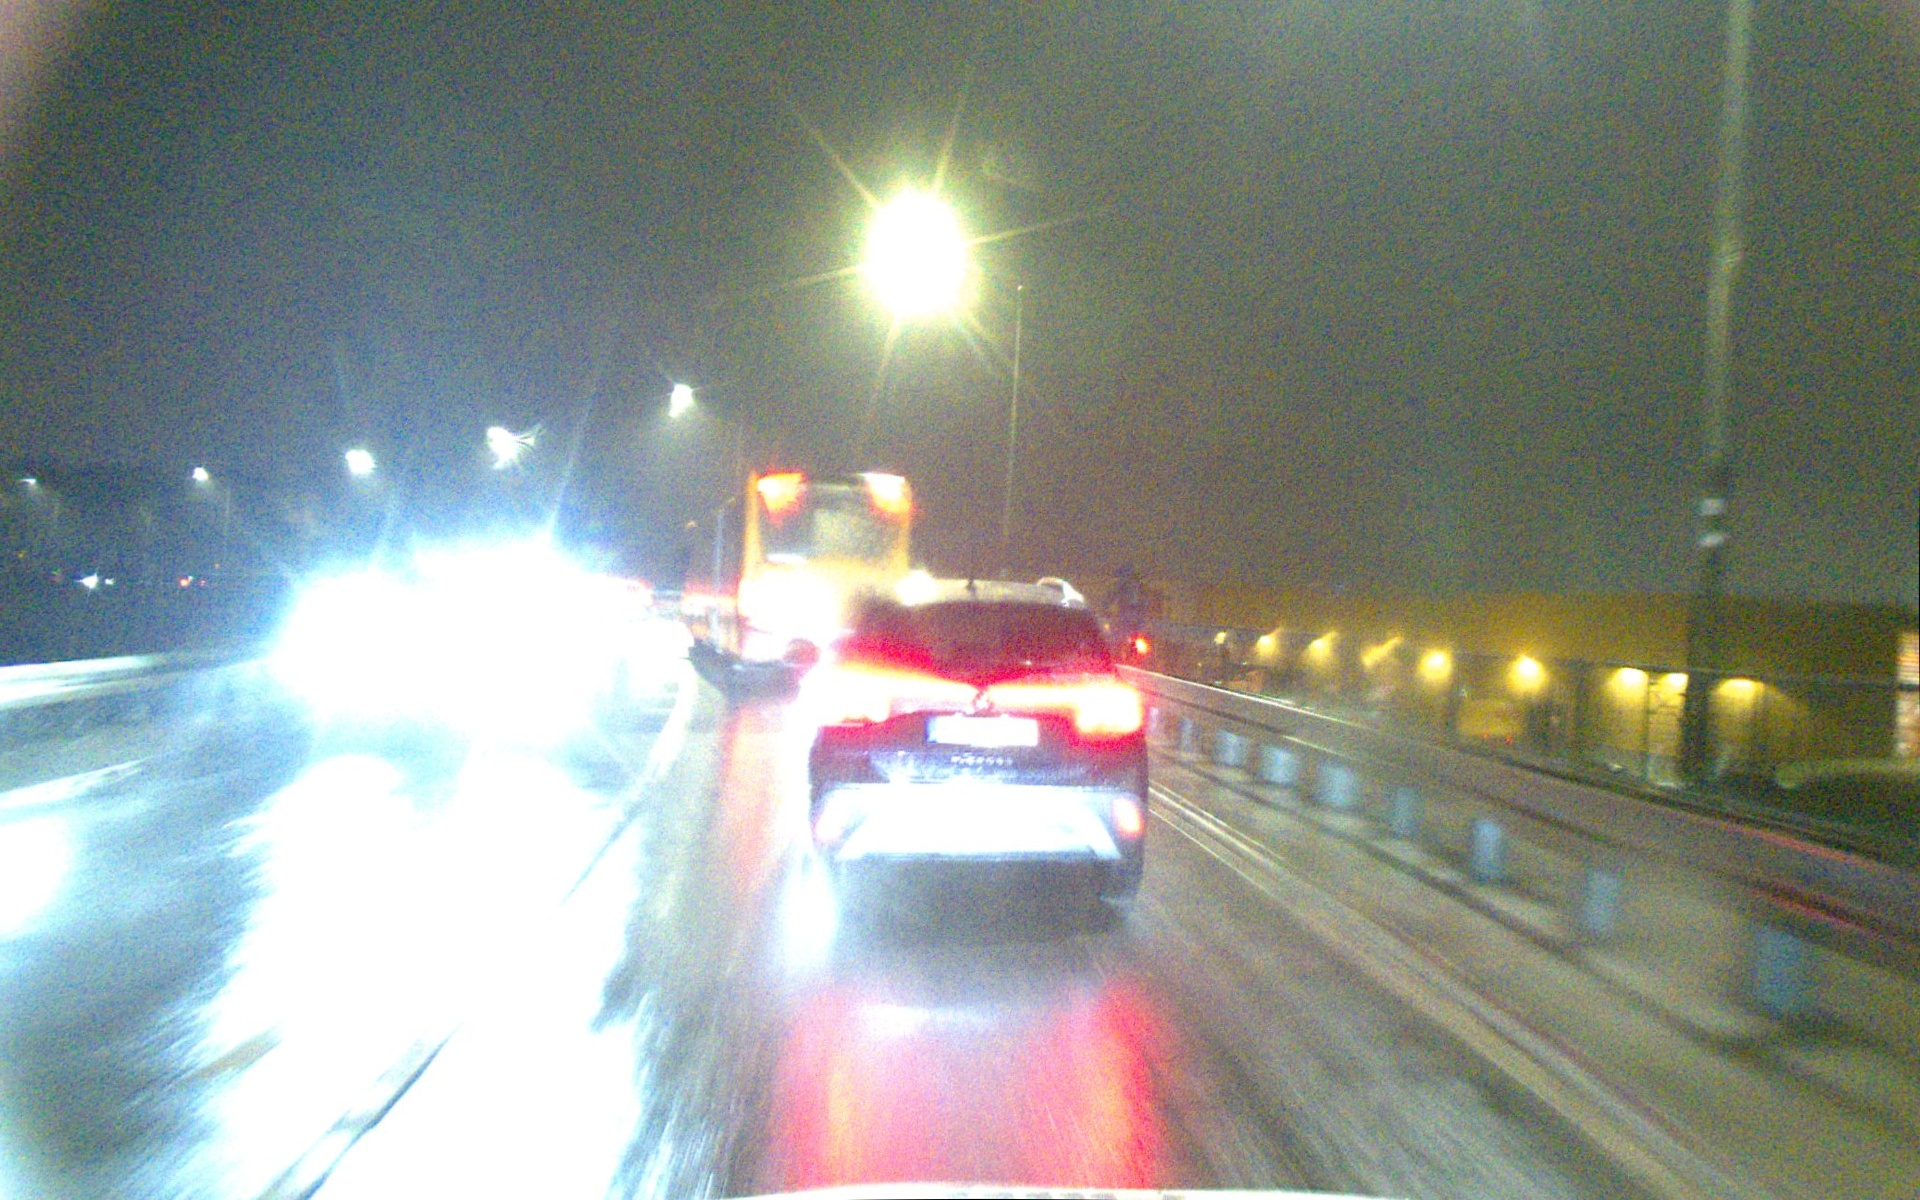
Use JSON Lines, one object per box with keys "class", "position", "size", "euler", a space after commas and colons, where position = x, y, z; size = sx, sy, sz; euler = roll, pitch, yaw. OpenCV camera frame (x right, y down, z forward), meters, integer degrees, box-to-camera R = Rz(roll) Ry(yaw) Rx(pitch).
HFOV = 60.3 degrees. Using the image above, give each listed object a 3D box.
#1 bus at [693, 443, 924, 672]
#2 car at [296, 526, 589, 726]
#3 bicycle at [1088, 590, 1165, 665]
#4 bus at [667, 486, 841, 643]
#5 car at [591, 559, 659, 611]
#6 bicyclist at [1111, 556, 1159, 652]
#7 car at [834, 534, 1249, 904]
{"class": "bus", "position": [-3.121, -0.718, 29.563], "size": [3.028, 3.187, 12.666], "euler": [0, 1, -10]}
{"class": "car", "position": [-5.112, 0.193, 17.068], "size": [1.984, 1.749, 4.974], "euler": [0, 1, -7]}
{"class": "bicycle", "position": [2.453, 0.384, 24.555], "size": [0.476, 1.052, 2.165], "euler": [1, 0, -12]}
{"class": "bus", "position": [-5.127, -0.741, 39.637], "size": [2.998, 3.185, 8.047], "euler": [-4, 0, -14]}
{"class": "car", "position": [-11.832, -0.516, 58.295], "size": [1.614, 1.684, 3.684], "euler": [-2, 0, -22]}
{"class": "bicyclist", "position": [2.549, 0.051, 24.114], "size": [0.444, 1.373, 0.762], "euler": [1, 0, -13]}
{"class": "car", "position": [0.320, 0.517, 9.301], "size": [1.818, 1.614, 3.999], "euler": [1, 0, -1]}
